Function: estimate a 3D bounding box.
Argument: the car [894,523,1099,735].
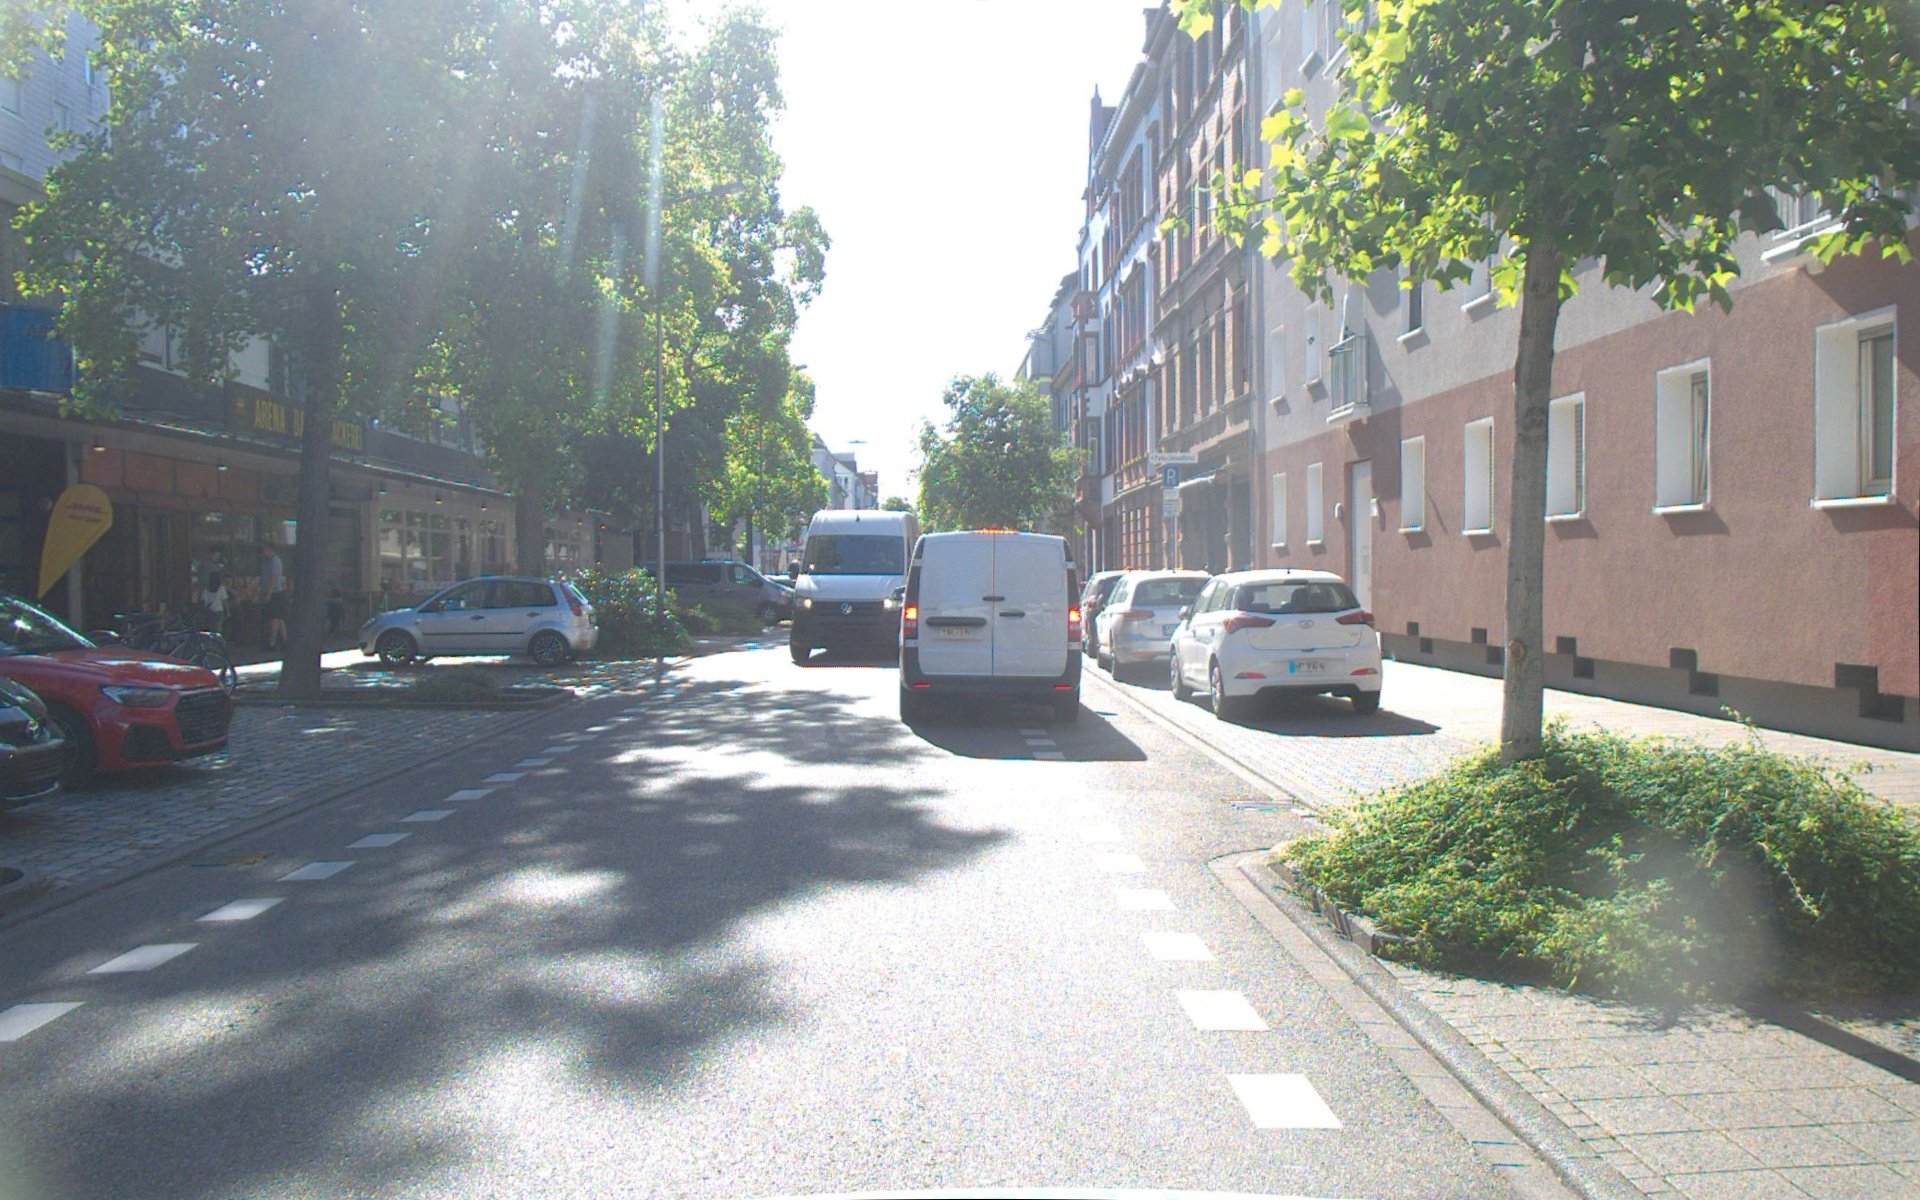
[{"bbox_3d":[0.335,0.220,17.759,1.881,1.947,4.888,1,1,0],"label":"car"}]

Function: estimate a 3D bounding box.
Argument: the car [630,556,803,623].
[{"bbox_3d":[-7.682,-0.337,52.556,5.186,2.008,2.015,1,1,-2],"label":"car"}]

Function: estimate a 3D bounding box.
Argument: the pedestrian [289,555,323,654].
[{"bbox_3d":[-11.602,0.084,29.357,0.382,1.735,0.502,1,0,0],"label":"pedestrian"}]

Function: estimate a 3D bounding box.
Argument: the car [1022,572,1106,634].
[{"bbox_3d":[2.593,0.047,42.001,1.703,1.476,3.999,-1,1,-2],"label":"car"}]

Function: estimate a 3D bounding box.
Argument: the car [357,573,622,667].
[{"bbox_3d":[-7.775,0.307,27.633,3.907,1.482,1.860,-1,1,-3],"label":"car"}]

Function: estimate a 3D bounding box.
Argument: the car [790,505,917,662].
[{"bbox_3d":[-1.803,-0.334,29.995,1.953,2.517,6.603,-1,1,-1],"label":"car"}]

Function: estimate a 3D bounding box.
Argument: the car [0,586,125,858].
[{"bbox_3d":[-7.125,0.649,9.710,3.594,1.476,1.612,1,1,-5],"label":"car"}]

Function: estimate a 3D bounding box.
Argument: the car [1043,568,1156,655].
[{"bbox_3d":[2.550,0.174,30.950,1.674,1.506,3.709,-1,1,-2],"label":"car"}]

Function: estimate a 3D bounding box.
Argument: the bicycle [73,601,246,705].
[{"bbox_3d":[-9.286,0.606,19.215,1.683,1.136,0.623,1,1,1],"label":"bicycle"}]

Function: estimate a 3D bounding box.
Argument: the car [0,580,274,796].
[{"bbox_3d":[-7.466,0.592,12.506,3.835,1.476,1.711,1,1,4],"label":"car"}]

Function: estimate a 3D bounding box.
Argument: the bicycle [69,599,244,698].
[{"bbox_3d":[-9.784,0.583,20.169,1.829,1.126,0.587,1,1,1],"label":"bicycle"}]

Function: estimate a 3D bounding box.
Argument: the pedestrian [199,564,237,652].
[{"bbox_3d":[-12.782,0.140,28.496,0.459,1.499,0.420,-1,1,-5],"label":"pedestrian"}]

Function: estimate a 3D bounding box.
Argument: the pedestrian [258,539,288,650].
[{"bbox_3d":[-12.277,-0.095,29.561,0.382,1.968,0.361,1,0,-1],"label":"pedestrian"}]

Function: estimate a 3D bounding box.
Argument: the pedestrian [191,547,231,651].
[{"bbox_3d":[-13.214,-0.016,29.189,0.475,1.813,0.427,-1,1,-5],"label":"pedestrian"}]

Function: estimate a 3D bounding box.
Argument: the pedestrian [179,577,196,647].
[{"bbox_3d":[-14.026,0.223,30.035,0.208,1.266,0.215,1,0,-1],"label":"pedestrian"}]

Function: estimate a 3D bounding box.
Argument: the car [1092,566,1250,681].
[{"bbox_3d":[3.011,0.281,24.421,1.749,1.485,4.517,-2,1,1],"label":"car"}]

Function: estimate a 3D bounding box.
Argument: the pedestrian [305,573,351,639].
[{"bbox_3d":[-13.177,0.126,34.513,0.708,1.354,0.703,1,0,-5],"label":"pedestrian"}]

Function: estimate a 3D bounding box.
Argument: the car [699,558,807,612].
[{"bbox_3d":[-8.160,-0.610,65.328,3.904,2.048,2.001,1,1,3],"label":"car"}]

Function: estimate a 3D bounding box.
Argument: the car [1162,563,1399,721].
[{"bbox_3d":[3.439,0.387,18.403,1.697,1.512,3.793,-2,1,-3],"label":"car"}]

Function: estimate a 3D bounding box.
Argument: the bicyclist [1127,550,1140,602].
[{"bbox_3d":[5.050,-0.696,48.088,0.353,1.502,0.531,0,0,3],"label":"bicyclist"}]
